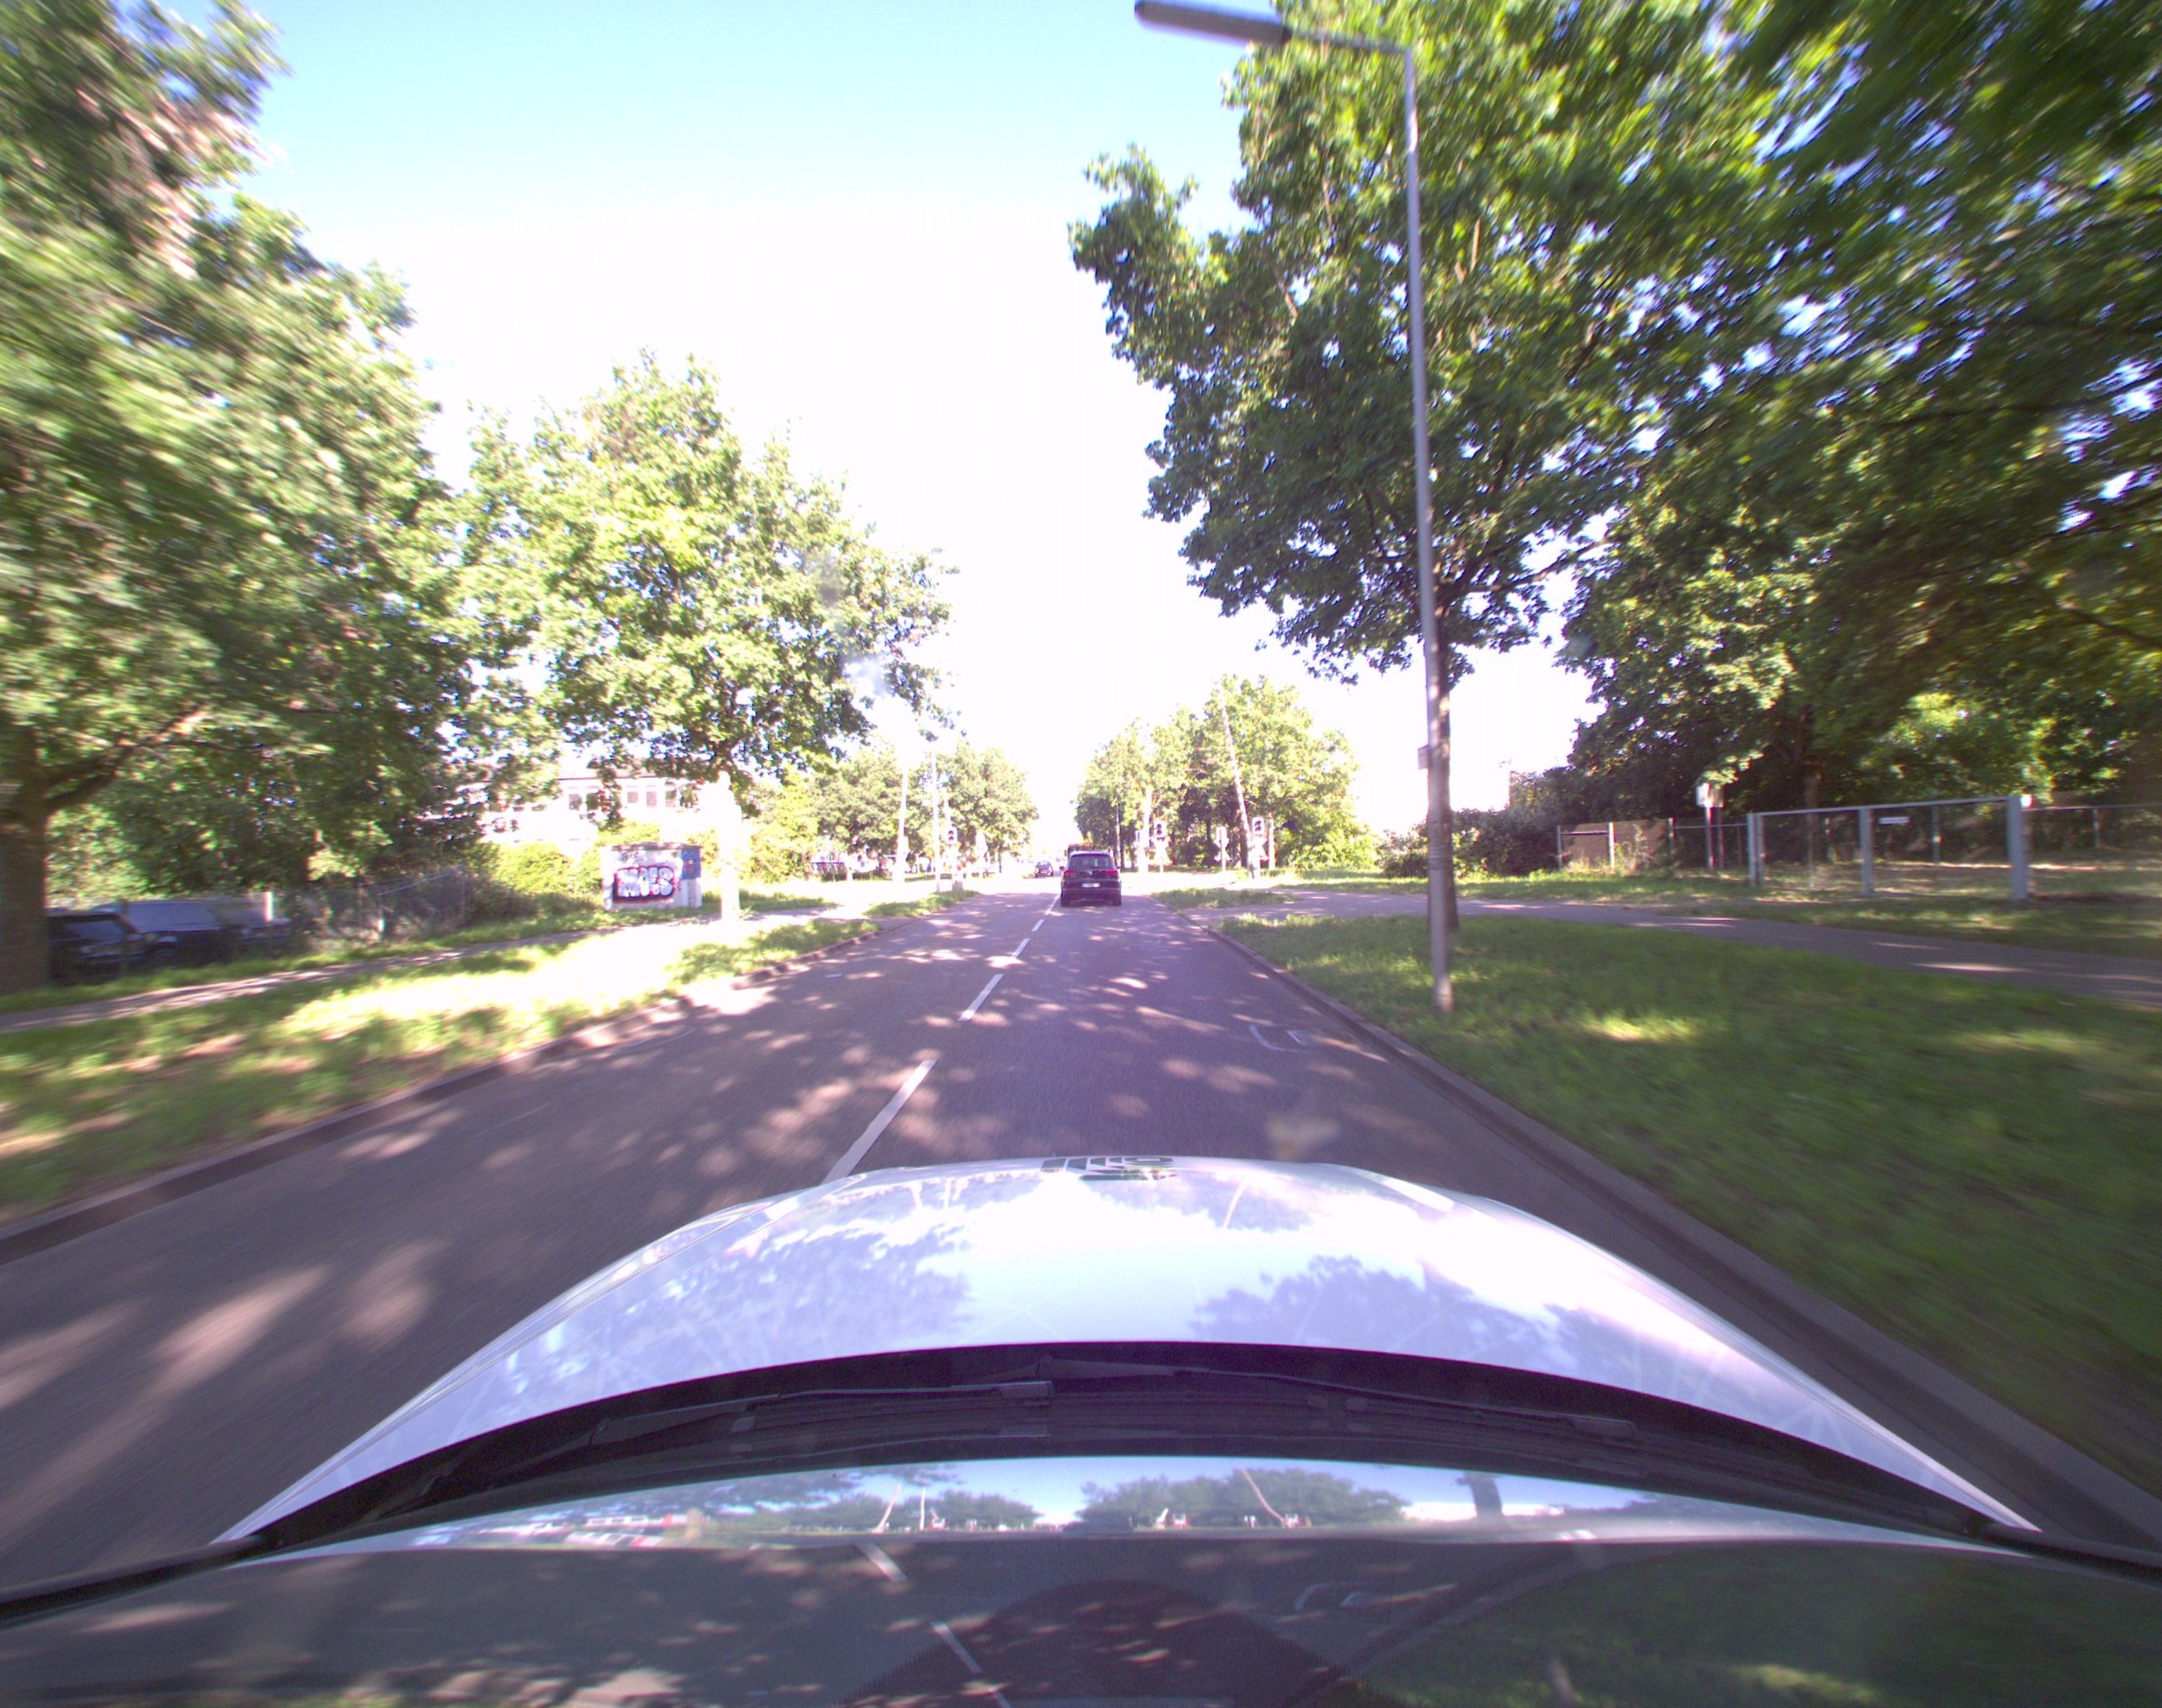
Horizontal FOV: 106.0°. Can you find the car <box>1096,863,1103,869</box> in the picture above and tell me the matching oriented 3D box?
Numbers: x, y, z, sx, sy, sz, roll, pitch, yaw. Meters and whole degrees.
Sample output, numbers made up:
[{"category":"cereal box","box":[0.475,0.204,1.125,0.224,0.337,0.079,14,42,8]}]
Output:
[{"category":"car","box":[4.240,2.742,186.760,1.447,1.406,2.855,0,0,0]}]

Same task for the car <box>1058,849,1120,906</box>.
[{"category":"car","box":[0.280,0.687,25.654,1.776,1.633,4.001,0,0,1]}]

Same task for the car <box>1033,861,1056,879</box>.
[{"category":"car","box":[-3.211,1.429,71.954,1.558,1.504,4.004,0,0,3]}]

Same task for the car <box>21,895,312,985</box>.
[{"category":"car","box":[-20.522,1.884,18.452,4.180,1.801,1.998,0,0,-3]}]

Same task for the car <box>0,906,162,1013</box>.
[{"category":"car","box":[-20.919,1.980,15.605,4.180,1.801,1.998,0,0,-3]}]

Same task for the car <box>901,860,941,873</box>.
[{"category":"car","box":[-24.330,1.913,123.983,5.792,2.014,1.992,0,0,-11]}]

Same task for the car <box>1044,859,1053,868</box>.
[{"category":"car","box":[-8.271,2.365,205.219,1.991,2.014,3.991,0,0,-6]}]

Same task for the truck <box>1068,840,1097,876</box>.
[{"category":"truck","box":[0.224,0.379,78.880,2.503,3.243,8.154,-2,0,1]}]
